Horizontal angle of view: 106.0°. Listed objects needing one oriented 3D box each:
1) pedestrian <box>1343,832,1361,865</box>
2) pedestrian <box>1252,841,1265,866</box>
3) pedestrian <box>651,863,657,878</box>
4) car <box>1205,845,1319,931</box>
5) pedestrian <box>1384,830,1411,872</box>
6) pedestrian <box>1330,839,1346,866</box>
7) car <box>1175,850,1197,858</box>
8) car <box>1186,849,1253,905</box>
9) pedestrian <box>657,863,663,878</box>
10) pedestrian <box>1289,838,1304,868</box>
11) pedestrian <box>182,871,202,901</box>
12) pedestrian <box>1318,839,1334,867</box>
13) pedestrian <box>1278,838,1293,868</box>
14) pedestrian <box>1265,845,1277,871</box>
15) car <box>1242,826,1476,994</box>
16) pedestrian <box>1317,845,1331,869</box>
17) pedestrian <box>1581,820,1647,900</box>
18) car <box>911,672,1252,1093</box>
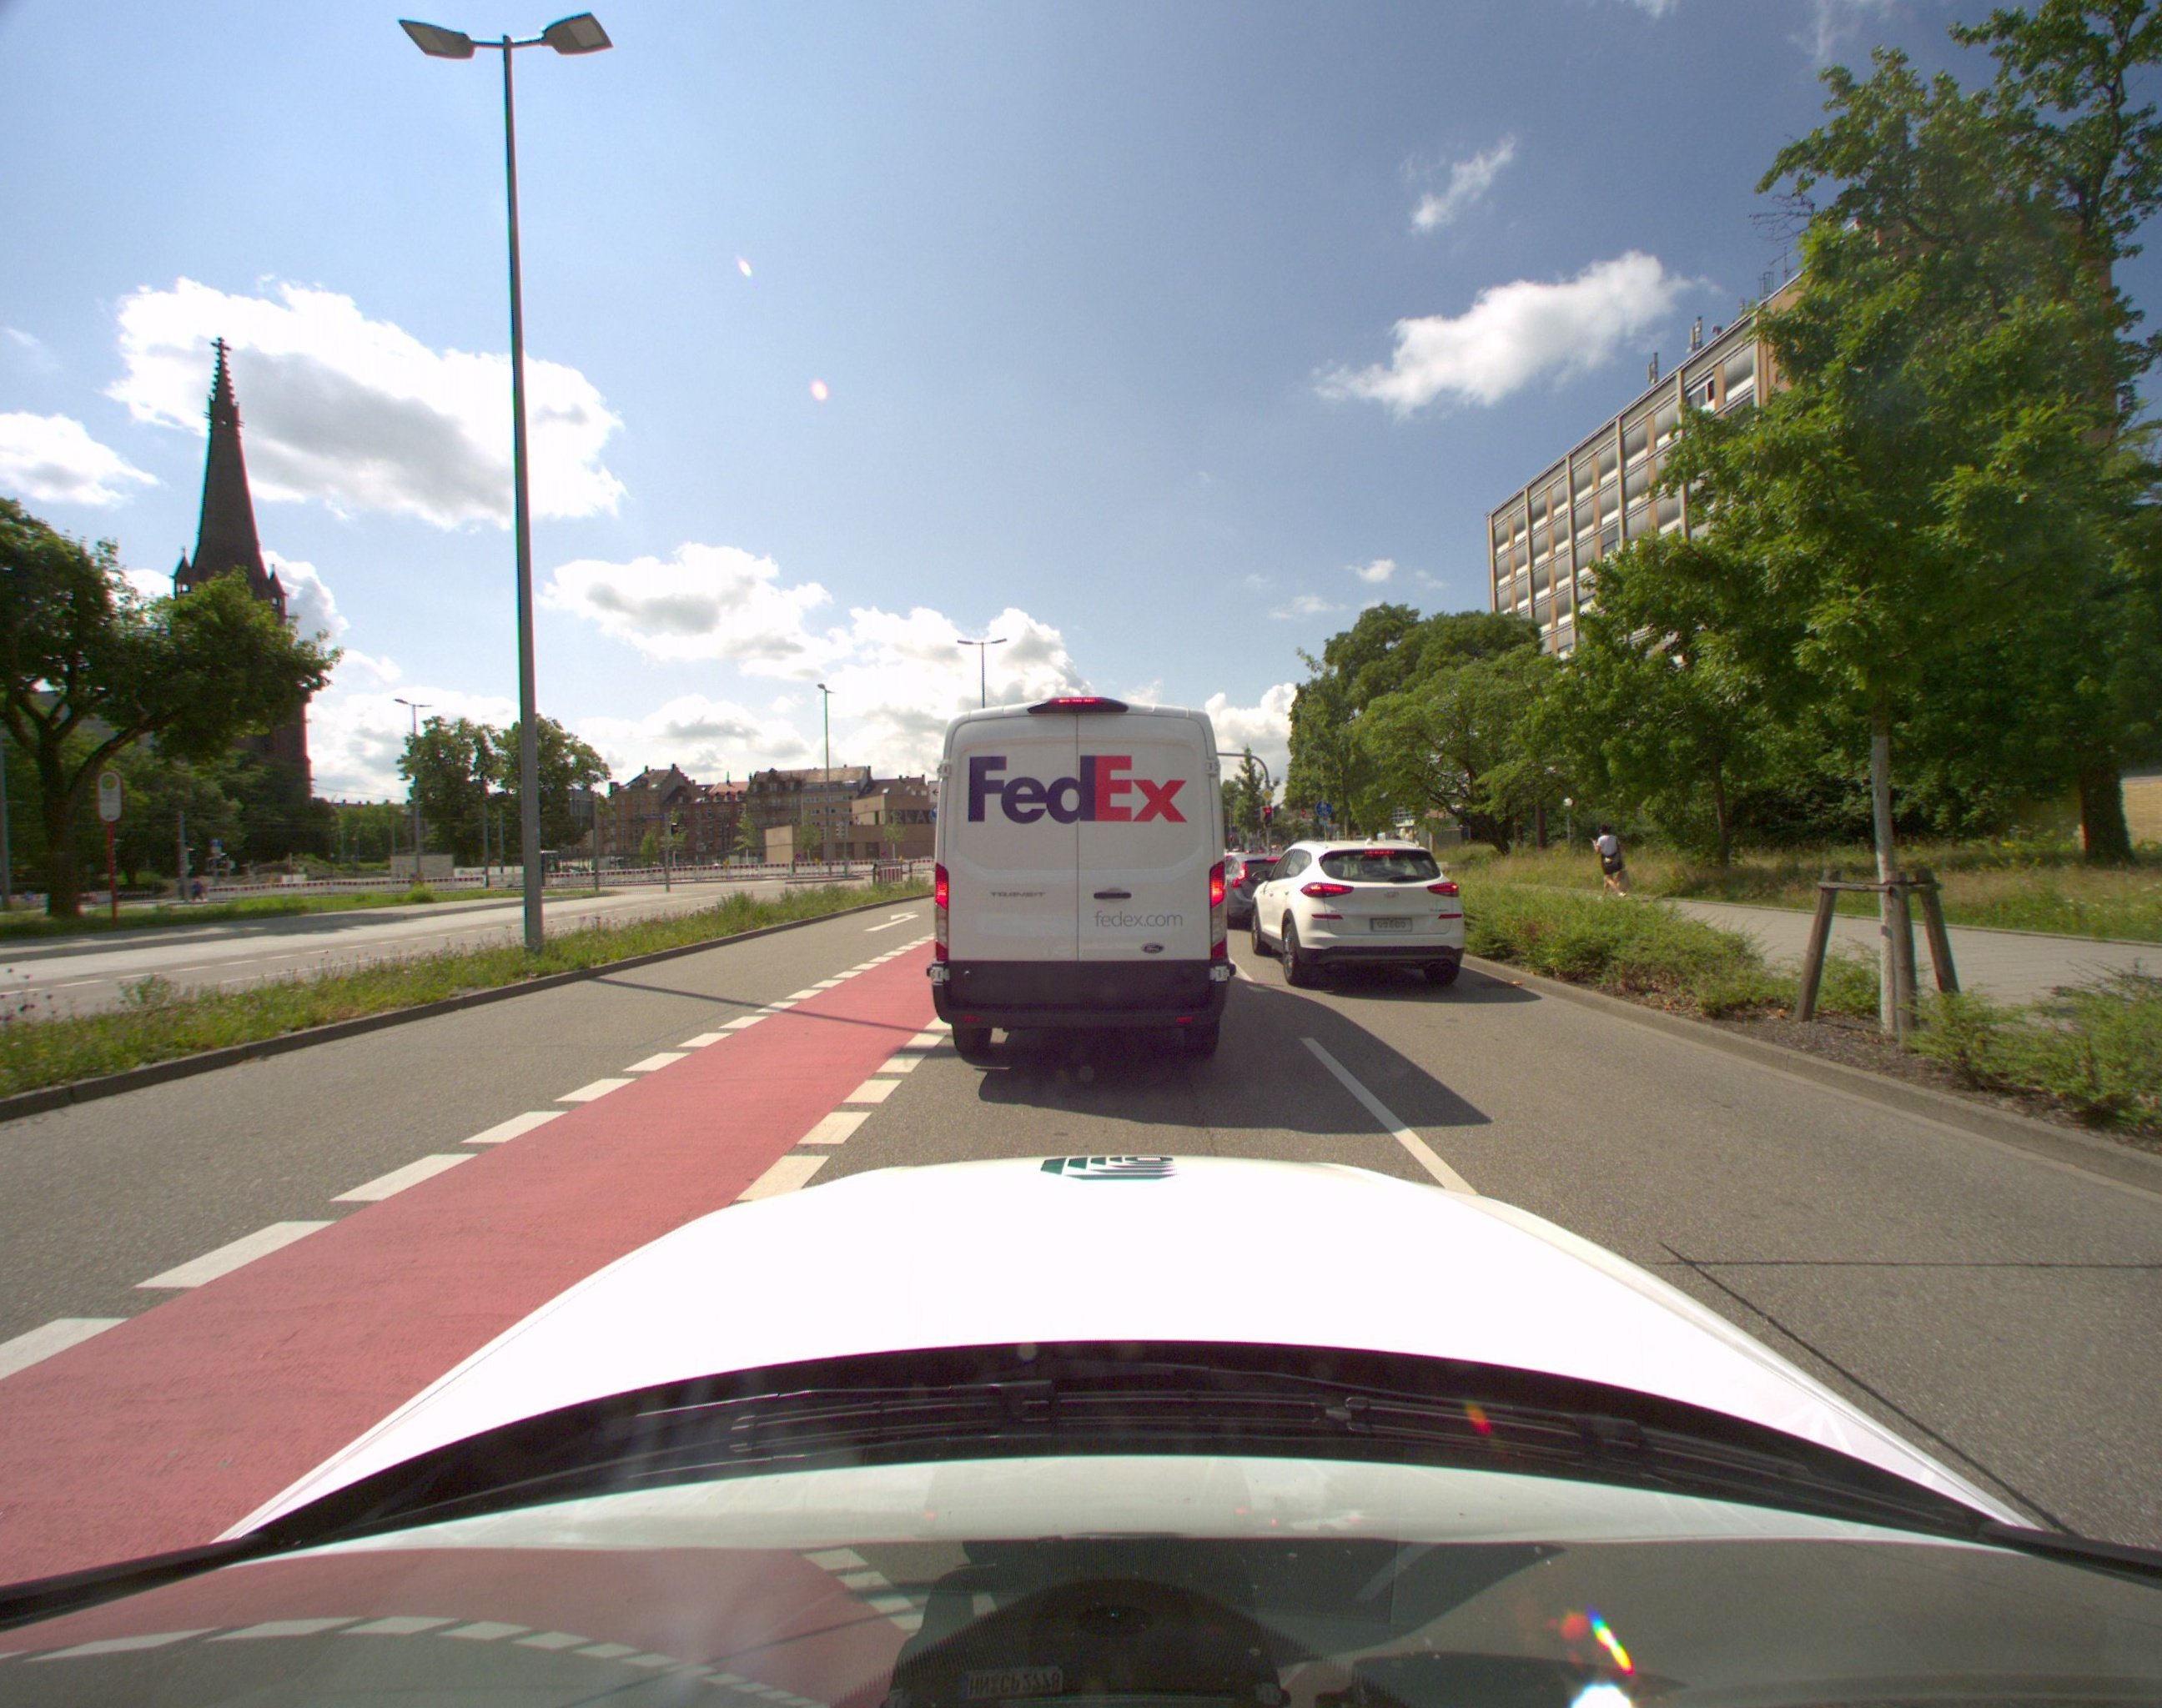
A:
[{"bbox_3d":[15.050,-0.286,45.209,0.755,1.789,0.818,-2,0,7],"label":"pedestrian"},{"bbox_3d":[13.035,-0.038,59.761,0.810,1.849,0.762,-2,0,5],"label":"pedestrian"},{"bbox_3d":[-45.630,1.745,87.026,0.420,1.652,0.420,-1,-1,36],"label":"pedestrian"},{"bbox_3d":[3.623,0.610,16.882,1.684,1.549,3.724,-2,0,3],"label":"car"},{"bbox_3d":[12.571,-0.117,32.355,0.755,1.655,0.817,-2,0,5],"label":"pedestrian"},{"bbox_3d":[17.680,-0.099,56.042,0.758,1.849,0.814,-2,0,-6],"label":"pedestrian"},{"bbox_3d":[20.689,-0.061,160.972,4.217,1.498,1.741,-2,0,1],"label":"car"},{"bbox_3d":[3.918,0.600,23.404,1.493,1.464,3.477,-2,0,3],"label":"car"},{"bbox_3d":[-44.829,1.737,86.661,0.420,1.652,0.420,-1,-1,36],"label":"pedestrian"},{"bbox_3d":[13.561,-0.096,51.206,0.755,1.849,0.817,-2,0,5],"label":"pedestrian"},{"bbox_3d":[-62.234,2.242,57.026,0.644,2.013,0.632,-2,0,-1],"label":"pedestrian"},{"bbox_3d":[16.786,-0.059,55.750,0.758,1.849,0.814,-2,0,-8],"label":"pedestrian"},{"bbox_3d":[12.790,-0.046,50.989,0.755,1.849,0.817,-2,0,3],"label":"pedestrian"},{"bbox_3d":[13.720,0.307,58.881,0.753,1.849,0.820,-2,0,16],"label":"pedestrian"},{"bbox_3d":[3.258,0.567,10.398,1.807,1.678,3.978,-2,0,3],"label":"car"},{"bbox_3d":[18.955,0.202,63.576,0.759,1.849,0.813,-2,0,-10],"label":"pedestrian"},{"bbox_3d":[10.697,0.114,16.365,0.756,1.557,0.816,-2,0,1],"label":"pedestrian"},{"bbox_3d":[0.126,0.171,7.320,2.064,2.581,4.432,-2,0,3],"label":"car"}]
